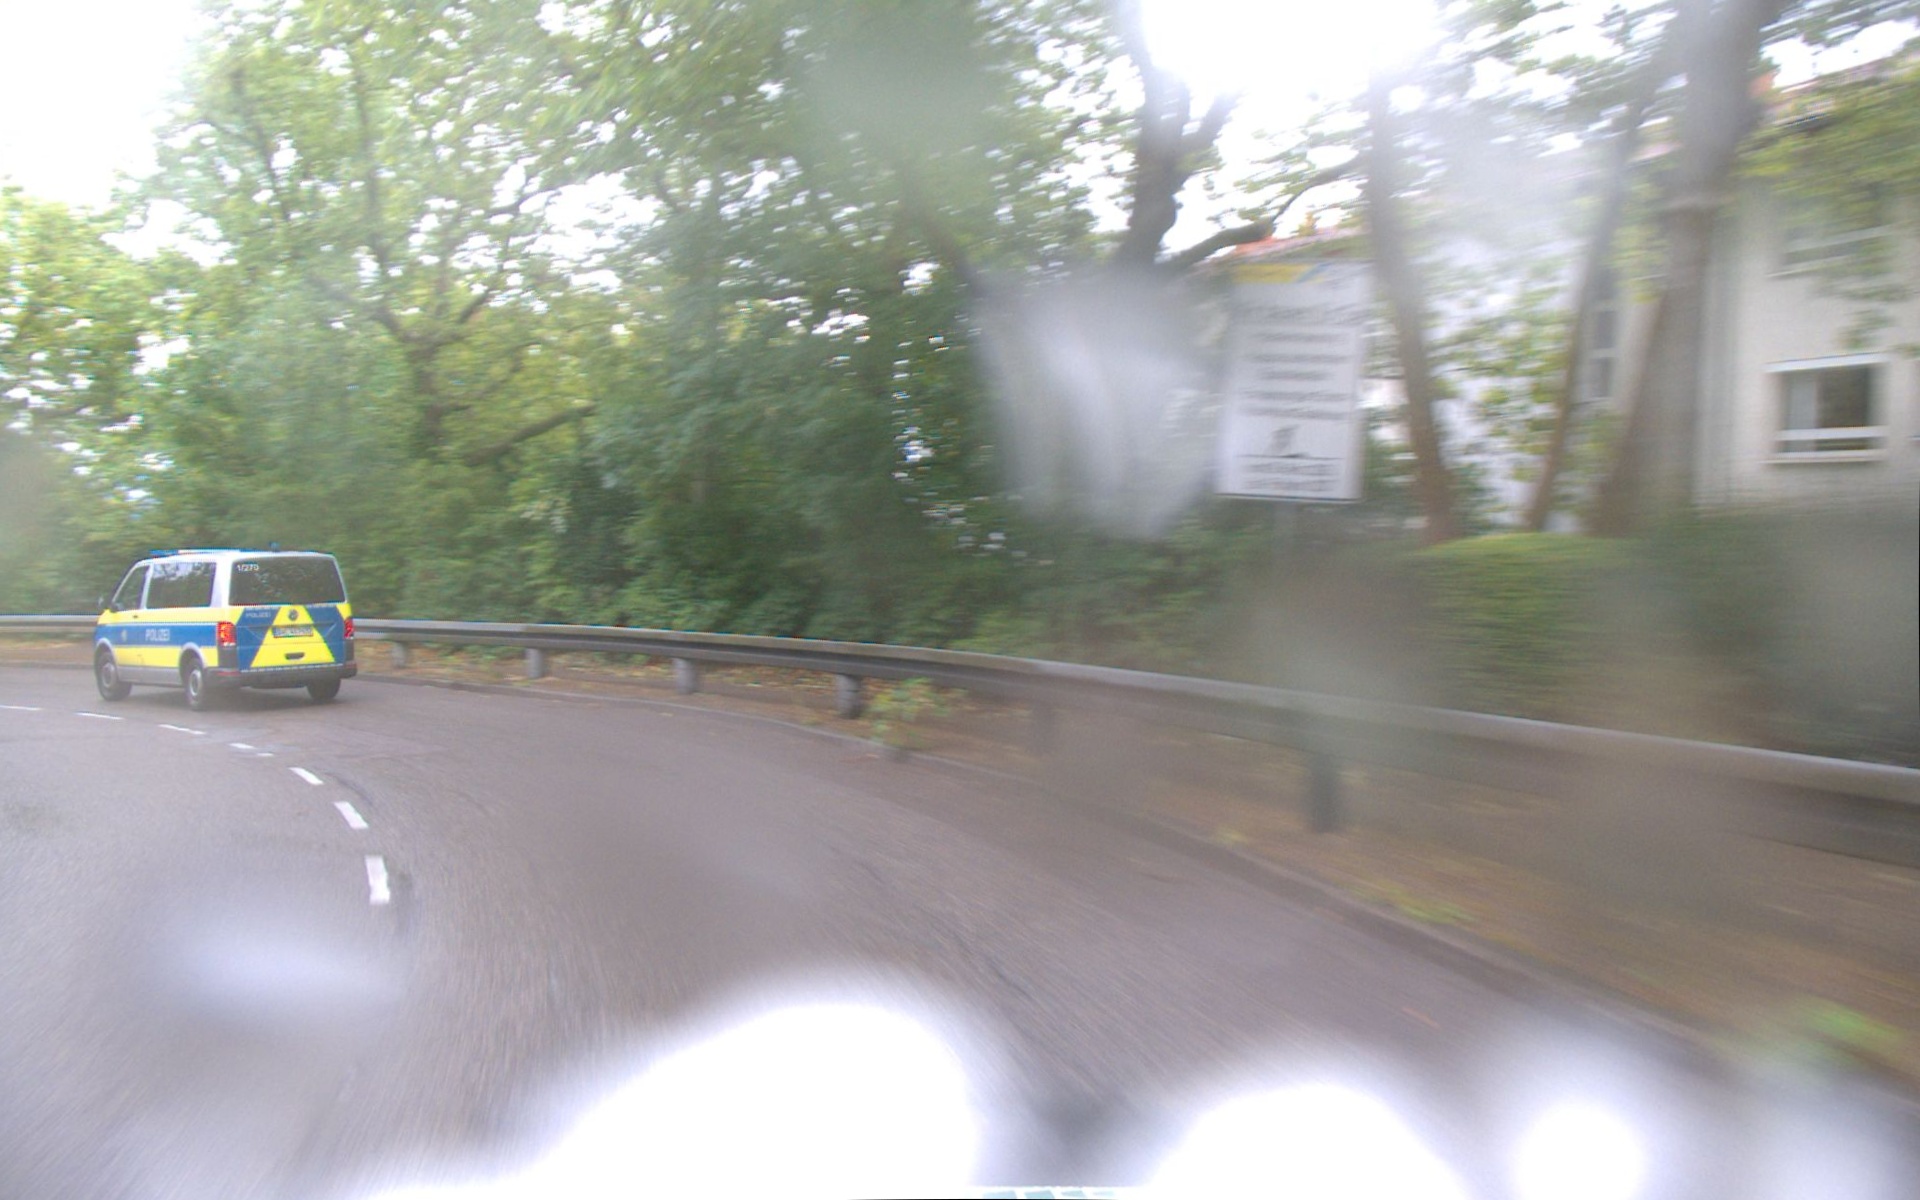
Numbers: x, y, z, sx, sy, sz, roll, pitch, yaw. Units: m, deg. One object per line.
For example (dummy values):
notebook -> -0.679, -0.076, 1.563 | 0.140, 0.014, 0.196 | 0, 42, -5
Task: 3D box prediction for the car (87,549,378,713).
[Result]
car -> -9.892, 0.378, 22.321 | 4.492, 1.926, 1.987 | -1, 2, 44
